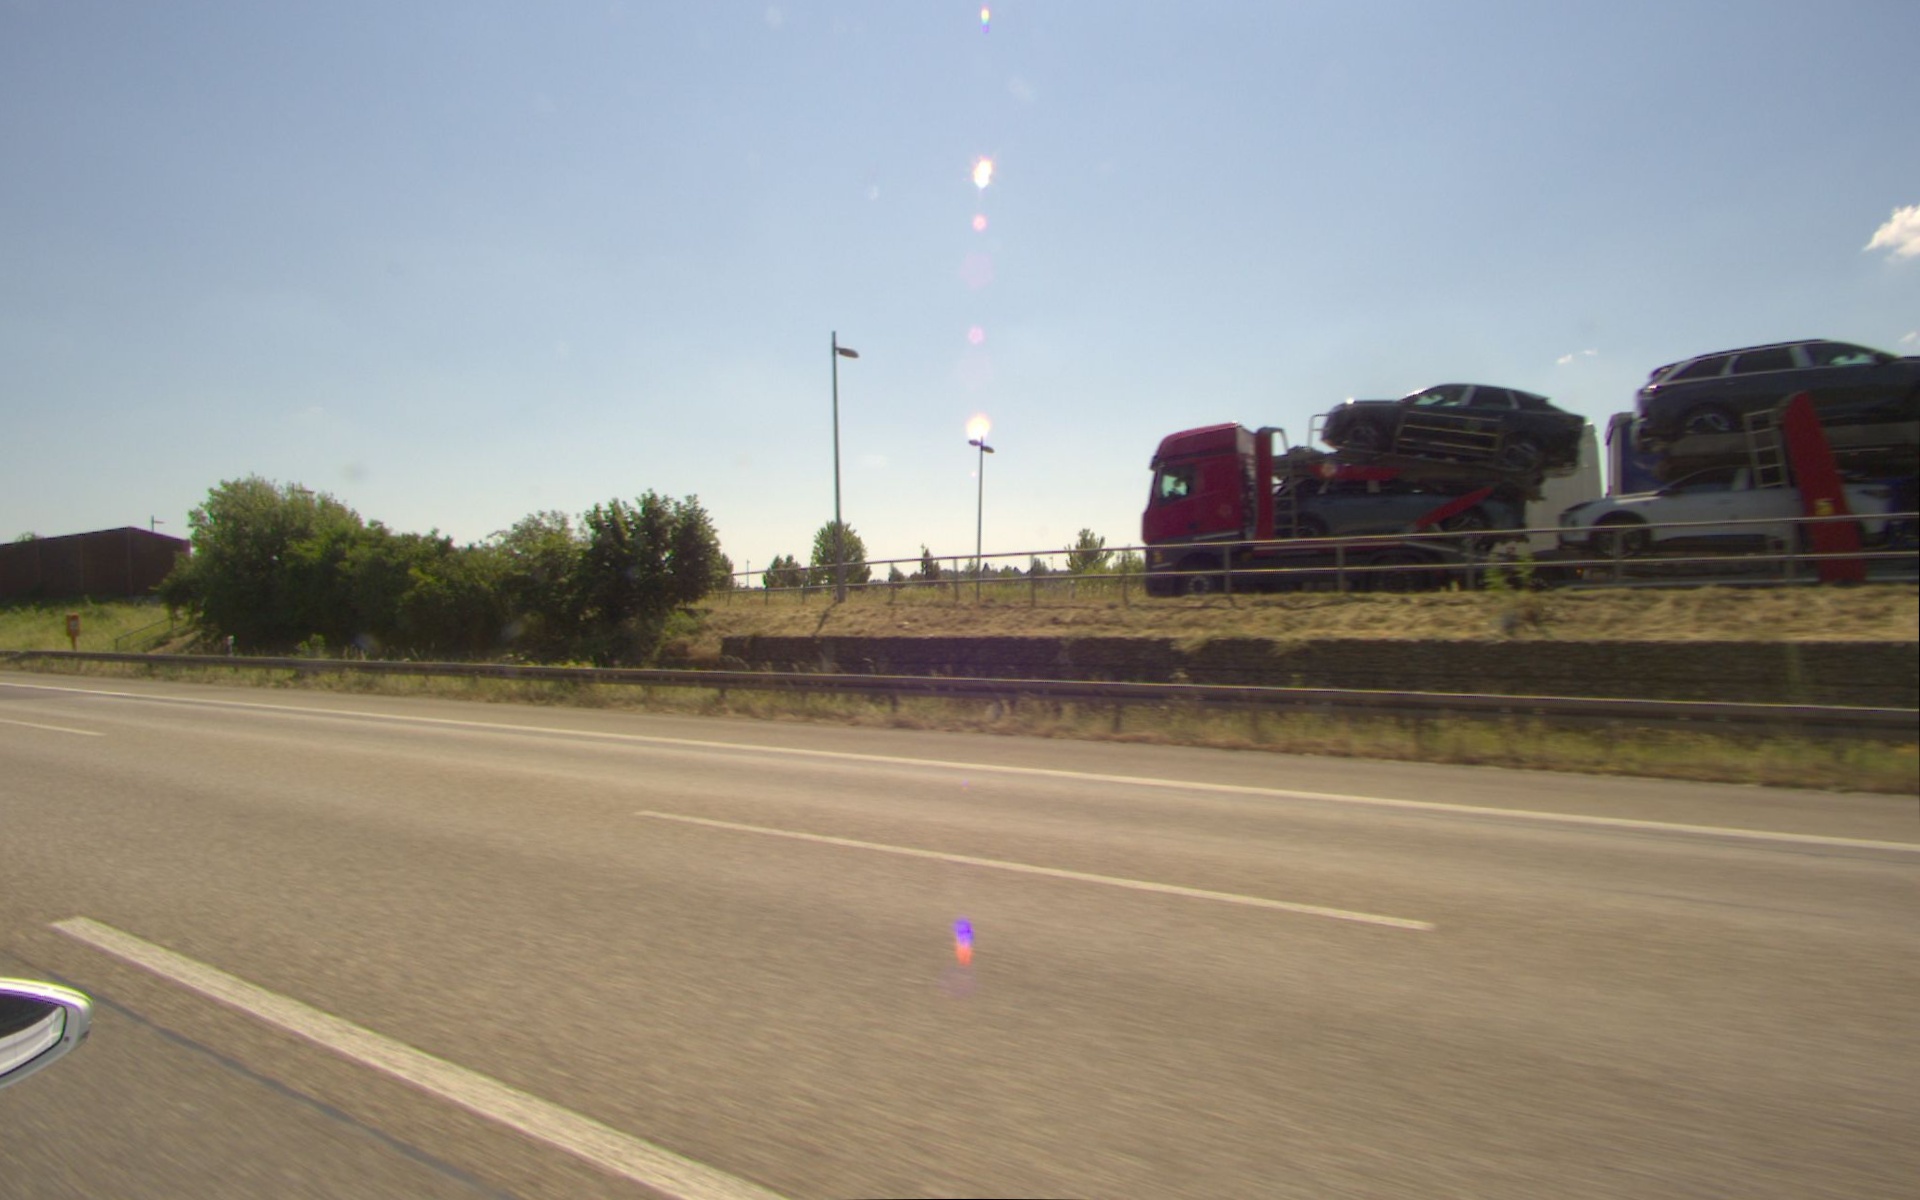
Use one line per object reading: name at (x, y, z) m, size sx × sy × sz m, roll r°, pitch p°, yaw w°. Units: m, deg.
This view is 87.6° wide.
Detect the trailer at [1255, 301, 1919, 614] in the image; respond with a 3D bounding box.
trailer at (14.122, -2.112, 15.830) m, size 18.161 × 4.311 × 2.601 m, roll -2°, pitch -2°, yaw 33°

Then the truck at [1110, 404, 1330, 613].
truck at (5.534, -1.725, 21.341) m, size 3.943 × 3.875 × 2.598 m, roll -1°, pitch -2°, yaw 32°

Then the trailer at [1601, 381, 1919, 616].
trailer at (20.080, -1.900, 18.195) m, size 14.052 × 4.134 × 3.048 m, roll -1°, pitch -2°, yaw 32°

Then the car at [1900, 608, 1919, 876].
car at (7.521, 0.809, 4.472) m, size 4.520 × 1.657 × 1.865 m, roll -1°, pitch -2°, yaw 32°

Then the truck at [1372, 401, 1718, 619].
truck at (12.916, -1.712, 22.596) m, size 6.306 × 4.134 × 3.048 m, roll -1°, pitch -2°, yaw 32°
